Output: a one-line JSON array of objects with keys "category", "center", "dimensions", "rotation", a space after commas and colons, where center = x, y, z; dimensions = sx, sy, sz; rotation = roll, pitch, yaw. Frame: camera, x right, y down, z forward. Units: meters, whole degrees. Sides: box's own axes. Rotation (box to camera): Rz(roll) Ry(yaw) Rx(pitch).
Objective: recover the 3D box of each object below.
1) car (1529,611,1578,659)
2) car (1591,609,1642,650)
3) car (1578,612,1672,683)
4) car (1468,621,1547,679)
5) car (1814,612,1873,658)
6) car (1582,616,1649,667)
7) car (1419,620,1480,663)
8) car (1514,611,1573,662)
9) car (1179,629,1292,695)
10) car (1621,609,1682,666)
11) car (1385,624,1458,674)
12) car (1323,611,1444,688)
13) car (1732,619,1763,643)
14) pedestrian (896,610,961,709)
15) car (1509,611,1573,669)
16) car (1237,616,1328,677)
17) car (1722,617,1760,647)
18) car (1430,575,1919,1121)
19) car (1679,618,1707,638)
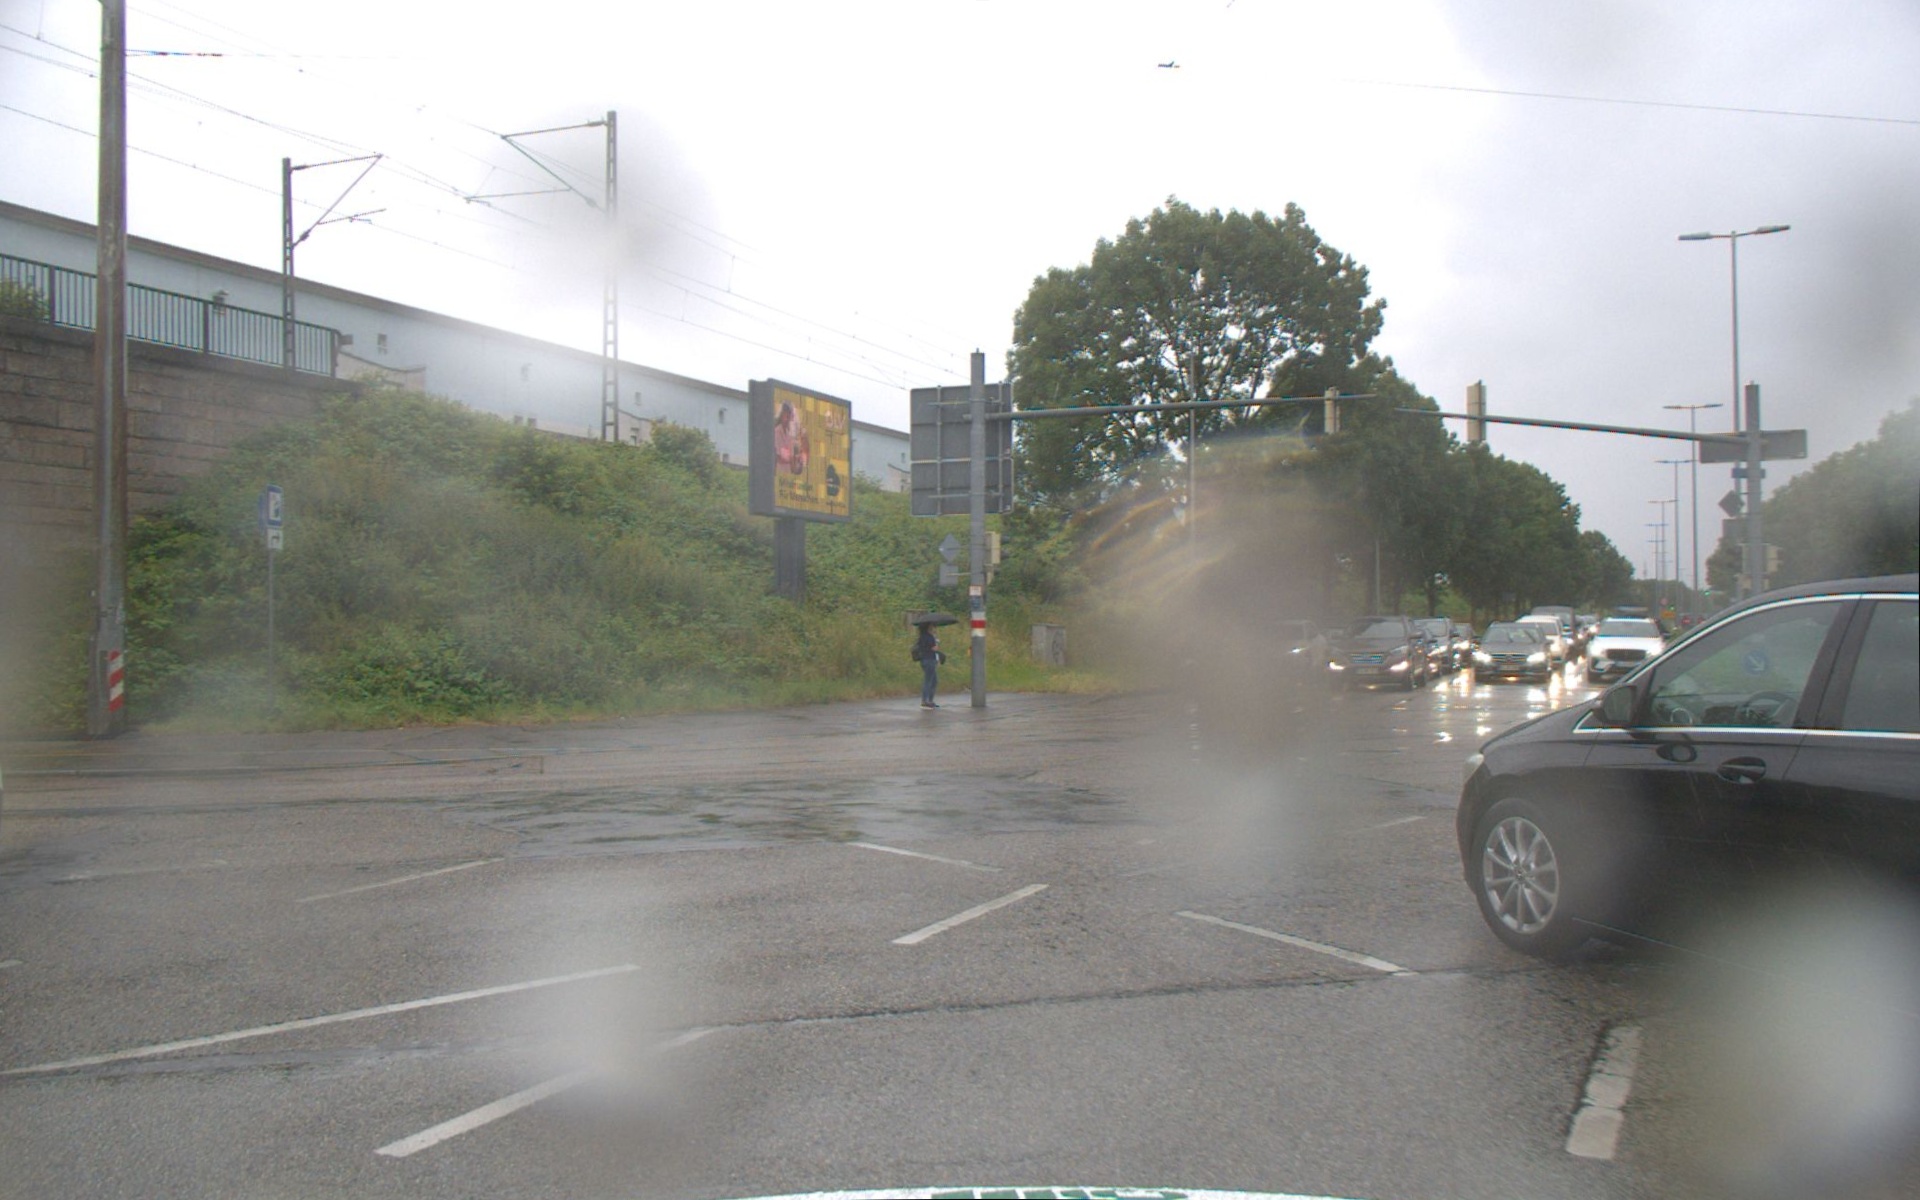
[{"category": "car", "center": [22.820, 1.325, 63.542], "dimensions": [1.620, 1.750, 4.000], "rotation": [-1, 0, 21]}, {"category": "car", "center": [28.760, 1.283, 72.529], "dimensions": [1.898, 1.750, 4.001], "rotation": [-1, 0, 19]}, {"category": "car", "center": [17.587, 1.205, 43.643], "dimensions": [2.126, 1.750, 4.300], "rotation": [-1, -1, 24]}, {"category": "car", "center": [14.257, 1.278, 43.245], "dimensions": [1.788, 1.382, 4.002], "rotation": [-1, 0, 16]}, {"category": "car", "center": [33.796, 1.309, 63.326], "dimensions": [1.599, 1.684, 3.484], "rotation": [1, 0, 22]}, {"category": "car", "center": [19.900, 1.229, 50.122], "dimensions": [1.801, 1.449, 3.999], "rotation": [-1, 0, 23]}, {"category": "car", "center": [16.680, 1.395, 56.282], "dimensions": [1.789, 1.382, 4.001], "rotation": [-1, 0, 19]}, {"category": "car", "center": [20.868, 1.278, 59.078], "dimensions": [1.807, 1.750, 4.000], "rotation": [-1, 0, 22]}, {"category": "car", "center": [6.403, 1.392, 38.060], "dimensions": [1.853, 1.373, 4.001], "rotation": [-1, 0, 20]}, {"category": "car", "center": [22.508, 1.194, 53.936], "dimensions": [1.566, 1.750, 4.001], "rotation": [-1, 0, 19]}, {"category": "car", "center": [13.890, 1.439, 49.664], "dimensions": [1.789, 1.382, 4.000], "rotation": [-1, 0, 20]}, {"category": "car", "center": [9.931, 1.109, 38.574], "dimensions": [1.982, 1.686, 4.058], "rotation": [-1, -1, 25]}, {"category": "car", "center": [56.194, 2.186, 118.084], "dimensions": [1.957, 1.646, 3.997], "rotation": [-1, -1, 25]}, {"category": "pedestrian", "center": [-0.560, 1.054, 29.703], "dimensions": [0.980, 1.749, 0.820], "rotation": [0, -1, 14]}, {"category": "car", "center": [18.692, 1.255, 53.139], "dimensions": [1.826, 1.750, 4.000], "rotation": [-1, 0, 21]}, {"category": "car", "center": [8.599, 1.208, 43.866], "dimensions": [1.789, 1.508, 4.001], "rotation": [-1, 0, 19]}, {"category": "car", "center": [44.814, 1.806, 94.979], "dimensions": [1.805, 1.646, 3.998], "rotation": [1, 0, 23]}, {"category": "car", "center": [3.450, 0.707, 5.697], "dimensions": [1.837, 1.550, 4.074], "rotation": [0, -1, -12]}, {"category": "car", "center": [60.706, 2.297, 137.026], "dimensions": [1.955, 1.646, 4.000], "rotation": [-1, -1, 22]}]
